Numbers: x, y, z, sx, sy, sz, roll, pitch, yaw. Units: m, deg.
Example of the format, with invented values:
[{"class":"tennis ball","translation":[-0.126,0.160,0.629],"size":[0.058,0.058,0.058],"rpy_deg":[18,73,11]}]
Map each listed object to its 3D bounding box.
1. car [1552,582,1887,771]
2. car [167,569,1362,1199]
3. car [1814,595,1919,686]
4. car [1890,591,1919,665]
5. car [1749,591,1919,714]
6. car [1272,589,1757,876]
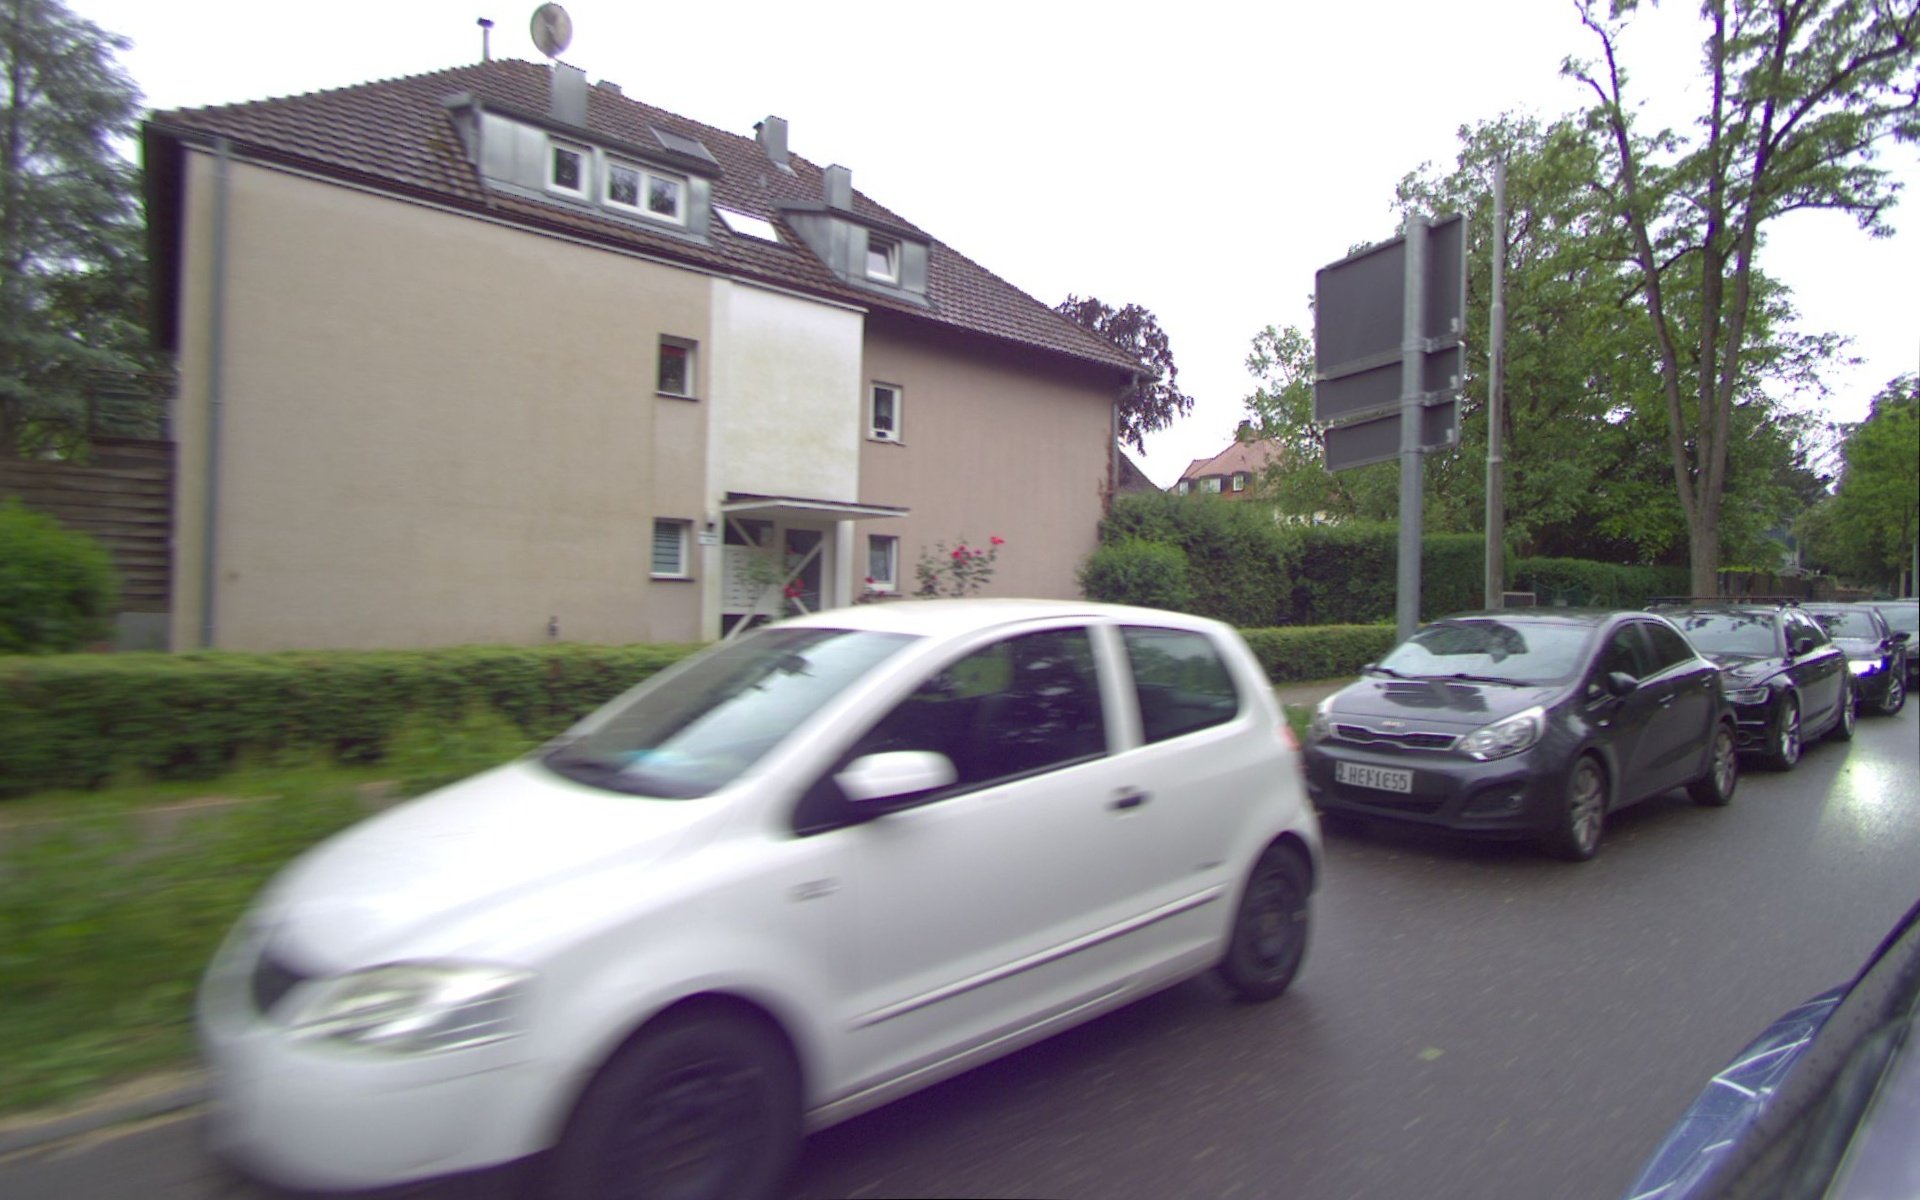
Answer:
[{"class":"car","translation":[8.016,0.633,10.494],"size":[4.738,1.546,1.756],"rpy_deg":[0,-1,-40]},{"class":"car","translation":[-0.320,0.702,3.441],"size":[3.698,1.491,1.574],"rpy_deg":[0,-1,-40]},{"class":"car","translation":[16.463,0.643,17.541],"size":[3.926,1.428,1.733],"rpy_deg":[0,-1,-38]},{"class":"car","translation":[21.231,0.573,21.685],"size":[2.752,1.536,1.600],"rpy_deg":[0,0,-41]},{"class":"car","translation":[12.676,0.643,14.336],"size":[4.334,1.487,1.619],"rpy_deg":[0,-1,-42]},{"class":"car","translation":[4.035,0.691,7.115],"size":[3.872,1.489,1.621],"rpy_deg":[0,-1,-39]}]
